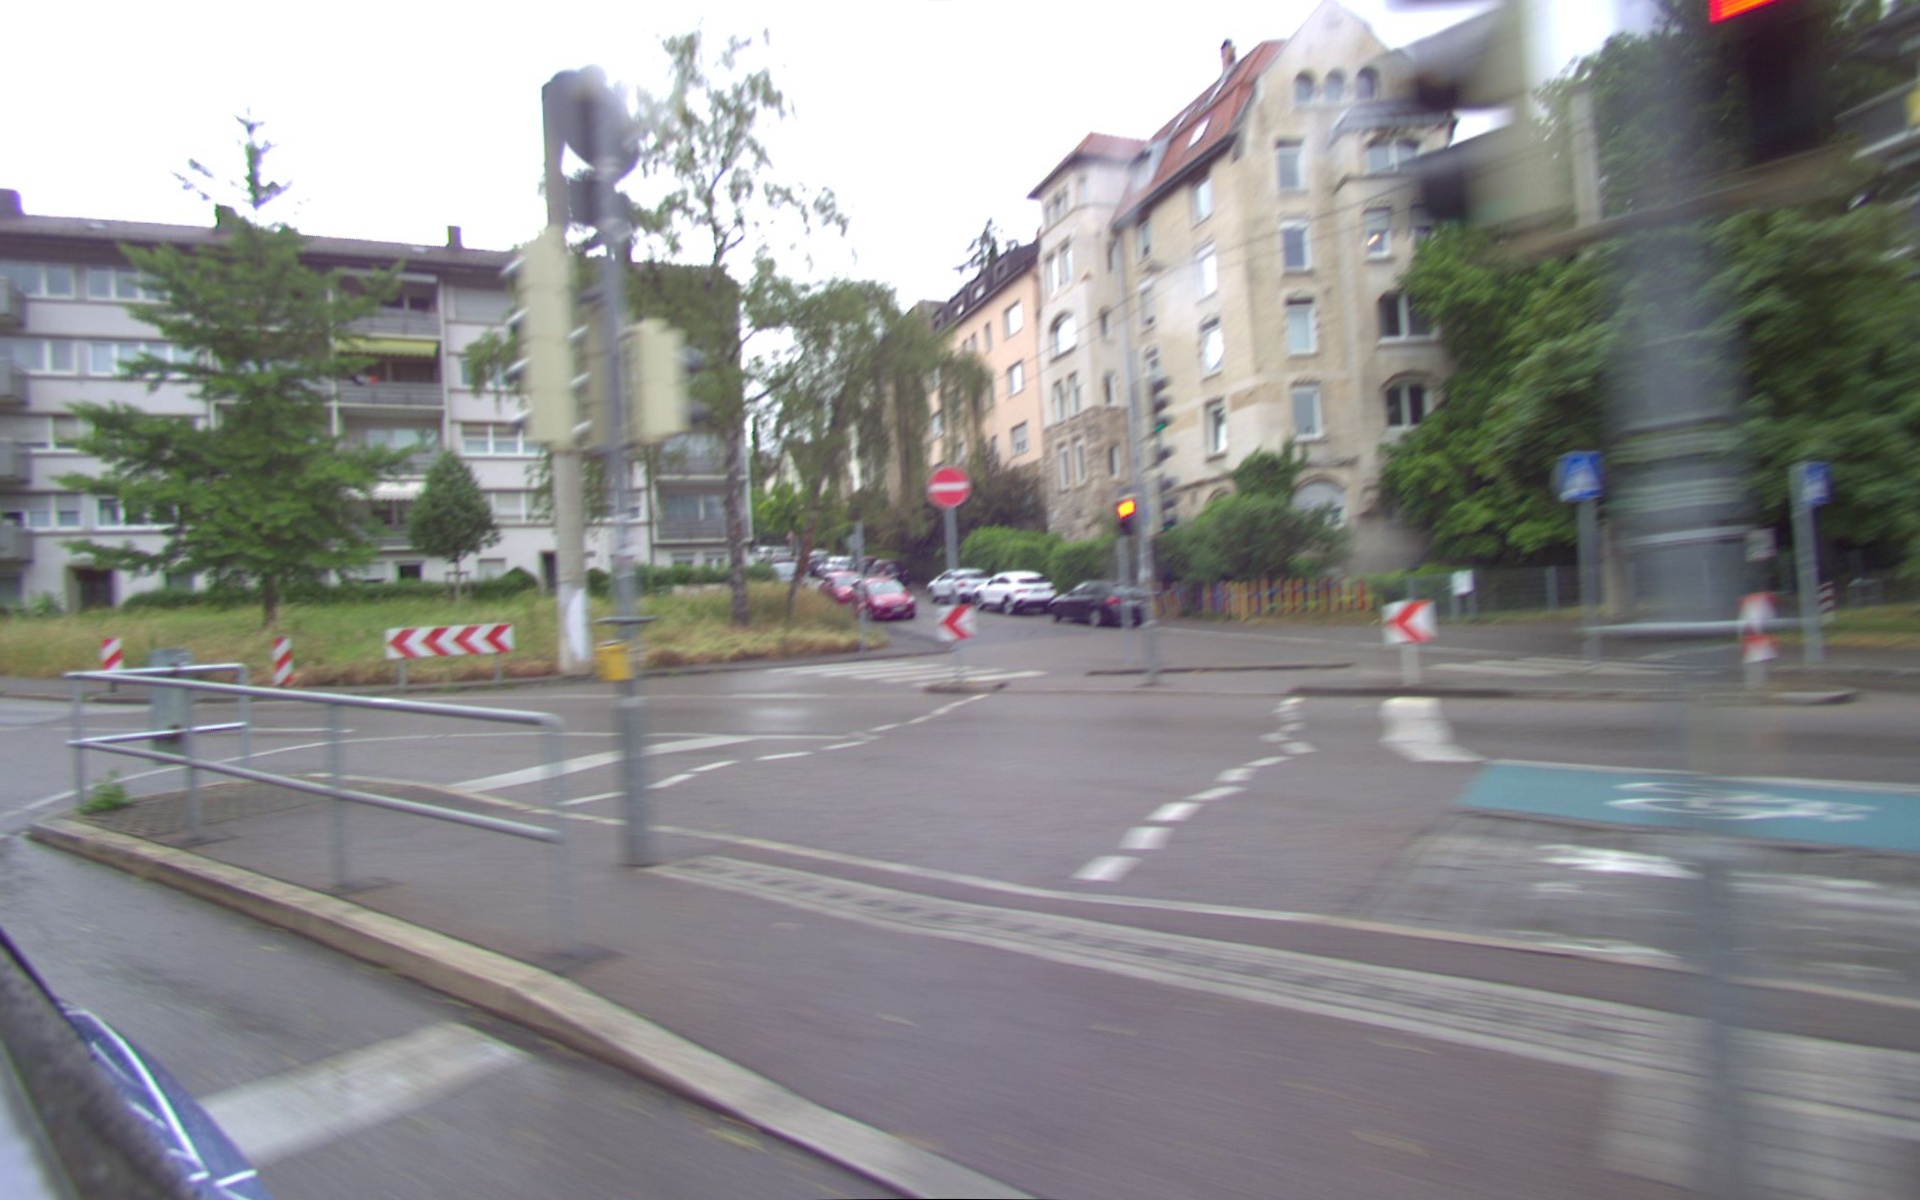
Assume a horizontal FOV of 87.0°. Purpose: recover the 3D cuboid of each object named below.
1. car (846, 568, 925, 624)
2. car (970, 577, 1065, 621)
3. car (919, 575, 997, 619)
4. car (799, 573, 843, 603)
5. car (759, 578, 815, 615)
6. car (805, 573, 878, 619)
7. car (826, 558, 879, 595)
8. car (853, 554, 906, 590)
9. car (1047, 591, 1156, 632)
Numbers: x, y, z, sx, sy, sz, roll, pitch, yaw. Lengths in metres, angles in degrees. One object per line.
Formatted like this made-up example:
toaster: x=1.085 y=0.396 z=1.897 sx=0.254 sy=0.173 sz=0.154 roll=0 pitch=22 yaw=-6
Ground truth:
car: x=-2.911 y=-0.128 z=38.873 sx=1.965 sy=2.029 sz=4.013 roll=-1 pitch=0 yaw=-20
car: x=2.181 y=-0.057 z=39.787 sx=1.965 sy=1.605 sz=4.371 roll=-1 pitch=0 yaw=-23
car: x=-0.144 y=-0.087 z=44.969 sx=1.774 sy=1.849 sz=4.298 roll=0 pitch=-1 yaw=-25
car: x=-8.816 y=-0.750 z=64.012 sx=1.652 sy=1.848 sz=3.678 roll=-1 pitch=0 yaw=-25
car: x=-9.191 y=-0.197 z=53.492 sx=1.774 sy=1.848 sz=4.298 roll=-1 pitch=0 yaw=-25
car: x=-5.161 y=-0.180 z=43.582 sx=1.774 sy=1.848 sz=4.298 roll=-1 pitch=0 yaw=-25
car: x=-6.212 y=-1.313 z=58.035 sx=1.965 sy=2.029 sz=4.013 roll=-1 pitch=0 yaw=-23
car: x=-4.379 y=-1.488 z=54.606 sx=1.652 sy=1.848 sz=3.678 roll=-1 pitch=0 yaw=-25
car: x=4.544 y=0.341 z=33.134 sx=1.723 sy=1.232 sz=4.370 roll=-1 pitch=0 yaw=-19
